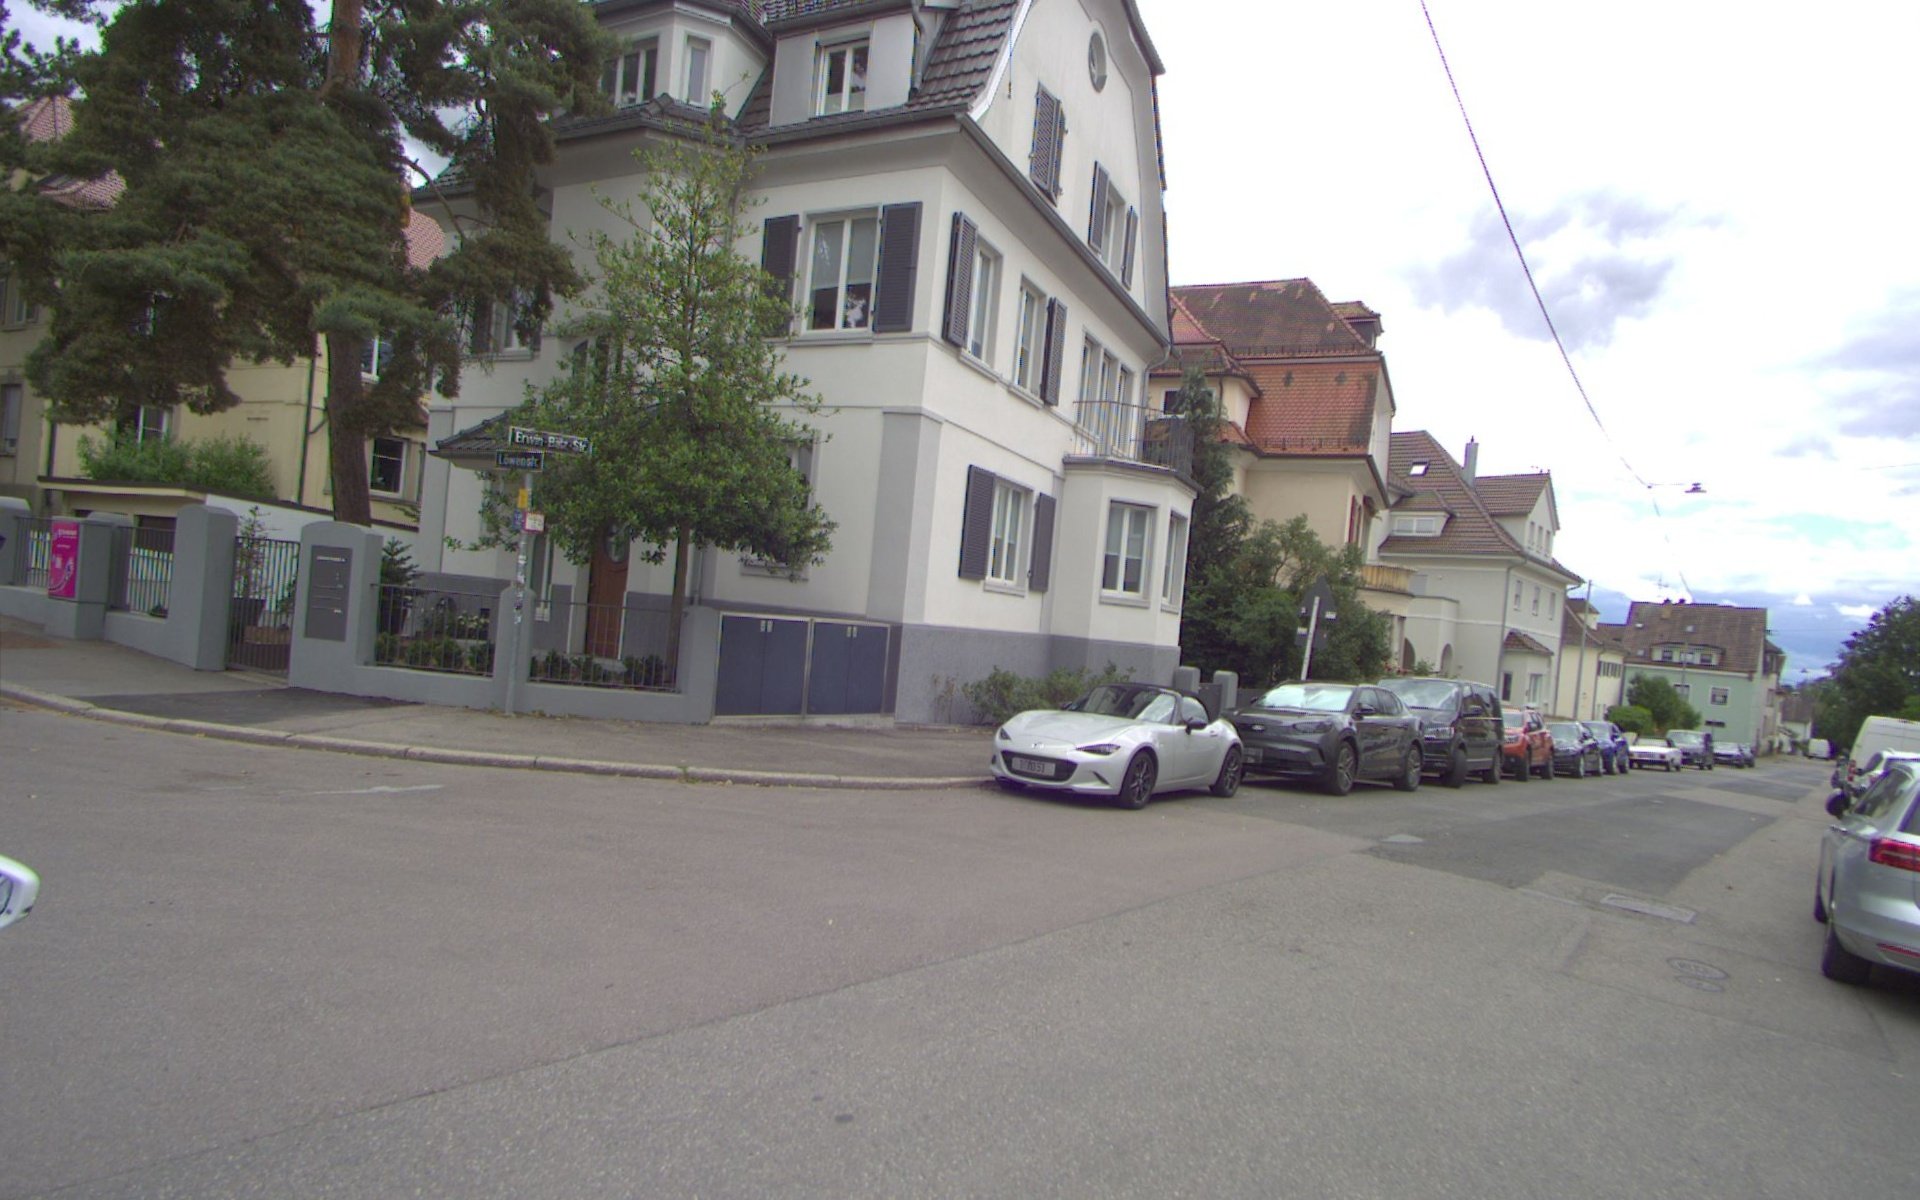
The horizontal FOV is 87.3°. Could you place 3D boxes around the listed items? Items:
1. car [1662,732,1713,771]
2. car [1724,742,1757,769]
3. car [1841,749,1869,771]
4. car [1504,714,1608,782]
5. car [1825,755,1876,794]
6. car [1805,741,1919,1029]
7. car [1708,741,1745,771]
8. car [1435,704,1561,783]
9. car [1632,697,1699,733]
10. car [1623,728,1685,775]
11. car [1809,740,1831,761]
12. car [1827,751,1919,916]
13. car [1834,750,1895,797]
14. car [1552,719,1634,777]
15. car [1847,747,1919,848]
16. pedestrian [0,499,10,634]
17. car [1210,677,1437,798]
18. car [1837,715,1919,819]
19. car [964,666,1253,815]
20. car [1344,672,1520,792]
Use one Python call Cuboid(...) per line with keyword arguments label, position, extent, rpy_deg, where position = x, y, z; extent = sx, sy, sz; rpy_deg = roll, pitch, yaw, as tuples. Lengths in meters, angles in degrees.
Cuboid(label="car", position=(34.980, 7.295, 48.325), extent=(1.597, 1.577, 3.960), rpy_deg=(5, -4, 40))
Cuboid(label="car", position=(54.008, 10.753, 69.600), extent=(1.597, 1.557, 3.476), rpy_deg=(5, -4, 40))
Cuboid(label="car", position=(77.933, 13.942, 87.641), extent=(1.705, 1.605, 3.871), rpy_deg=(4, -3, 42))
Cuboid(label="car", position=(15.997, 3.917, 26.902), extent=(1.745, 1.529, 3.959), rpy_deg=(1, -6, 40))
Cuboid(label="car", position=(44.039, 8.633, 49.788), extent=(1.705, 1.604, 3.872), rpy_deg=(4, -4, 42))
Cuboid(label="car", position=(6.942, 1.830, 6.742), extent=(1.738, 1.466, 4.344), rpy_deg=(6, -2, 39))
Cuboid(label="car", position=(48.830, 9.930, 64.067), extent=(1.597, 1.577, 3.728), rpy_deg=(5, -4, 40))
Cuboid(label="car", position=(12.458, 3.293, 23.174), extent=(1.745, 1.529, 3.959), rpy_deg=(1, -6, 40))
Cuboid(label="car", position=(53.013, 8.627, 75.674), extent=(3.937, 2.041, 1.798), rpy_deg=(6, 2, 34))
Cuboid(label="car", position=(28.123, 6.143, 40.731), extent=(1.597, 1.577, 3.960), rpy_deg=(5, -4, 40))
Cuboid(label="car", position=(107.130, 18.723, 125.361), extent=(1.813, 2.344, 3.875), rpy_deg=(5, -3, 38))
Cuboid(label="car", position=(10.483, 2.482, 10.695), extent=(1.715, 1.438, 3.983), rpy_deg=(6, -3, 43))
Cuboid(label="car", position=(37.447, 7.173, 41.703), extent=(1.705, 1.604, 3.872), rpy_deg=(4, -4, 42))
Cuboid(label="car", position=(19.797, 4.593, 31.394), extent=(1.598, 1.577, 3.959), rpy_deg=(1, -5, 40))
Cuboid(label="car", position=(18.054, 3.756, 18.953), extent=(1.842, 1.624, 3.986), rpy_deg=(4, -4, 41))
Cuboid(label="pedestrian", position=(-11.905, -0.436, 11.938), extent=(0.892, 1.598, 0.681), rpy_deg=(5, 2, 33))
Cuboid(label="car", position=(5.509, 2.056, 14.918), extent=(1.650, 1.457, 4.186), rpy_deg=(0, -7, 42))
Cuboid(label="car", position=(26.247, 4.700, 28.299), extent=(2.086, 2.441, 5.868), rpy_deg=(6, -3, 42))
Cuboid(label="car", position=(1.783, 1.539, 11.250), extent=(1.647, 1.275, 3.470), rpy_deg=(2, -5, 38))
Cuboid(label="car", position=(9.037, 2.491, 19.045), extent=(1.867, 1.912, 4.499), rpy_deg=(1, -6, 40))
